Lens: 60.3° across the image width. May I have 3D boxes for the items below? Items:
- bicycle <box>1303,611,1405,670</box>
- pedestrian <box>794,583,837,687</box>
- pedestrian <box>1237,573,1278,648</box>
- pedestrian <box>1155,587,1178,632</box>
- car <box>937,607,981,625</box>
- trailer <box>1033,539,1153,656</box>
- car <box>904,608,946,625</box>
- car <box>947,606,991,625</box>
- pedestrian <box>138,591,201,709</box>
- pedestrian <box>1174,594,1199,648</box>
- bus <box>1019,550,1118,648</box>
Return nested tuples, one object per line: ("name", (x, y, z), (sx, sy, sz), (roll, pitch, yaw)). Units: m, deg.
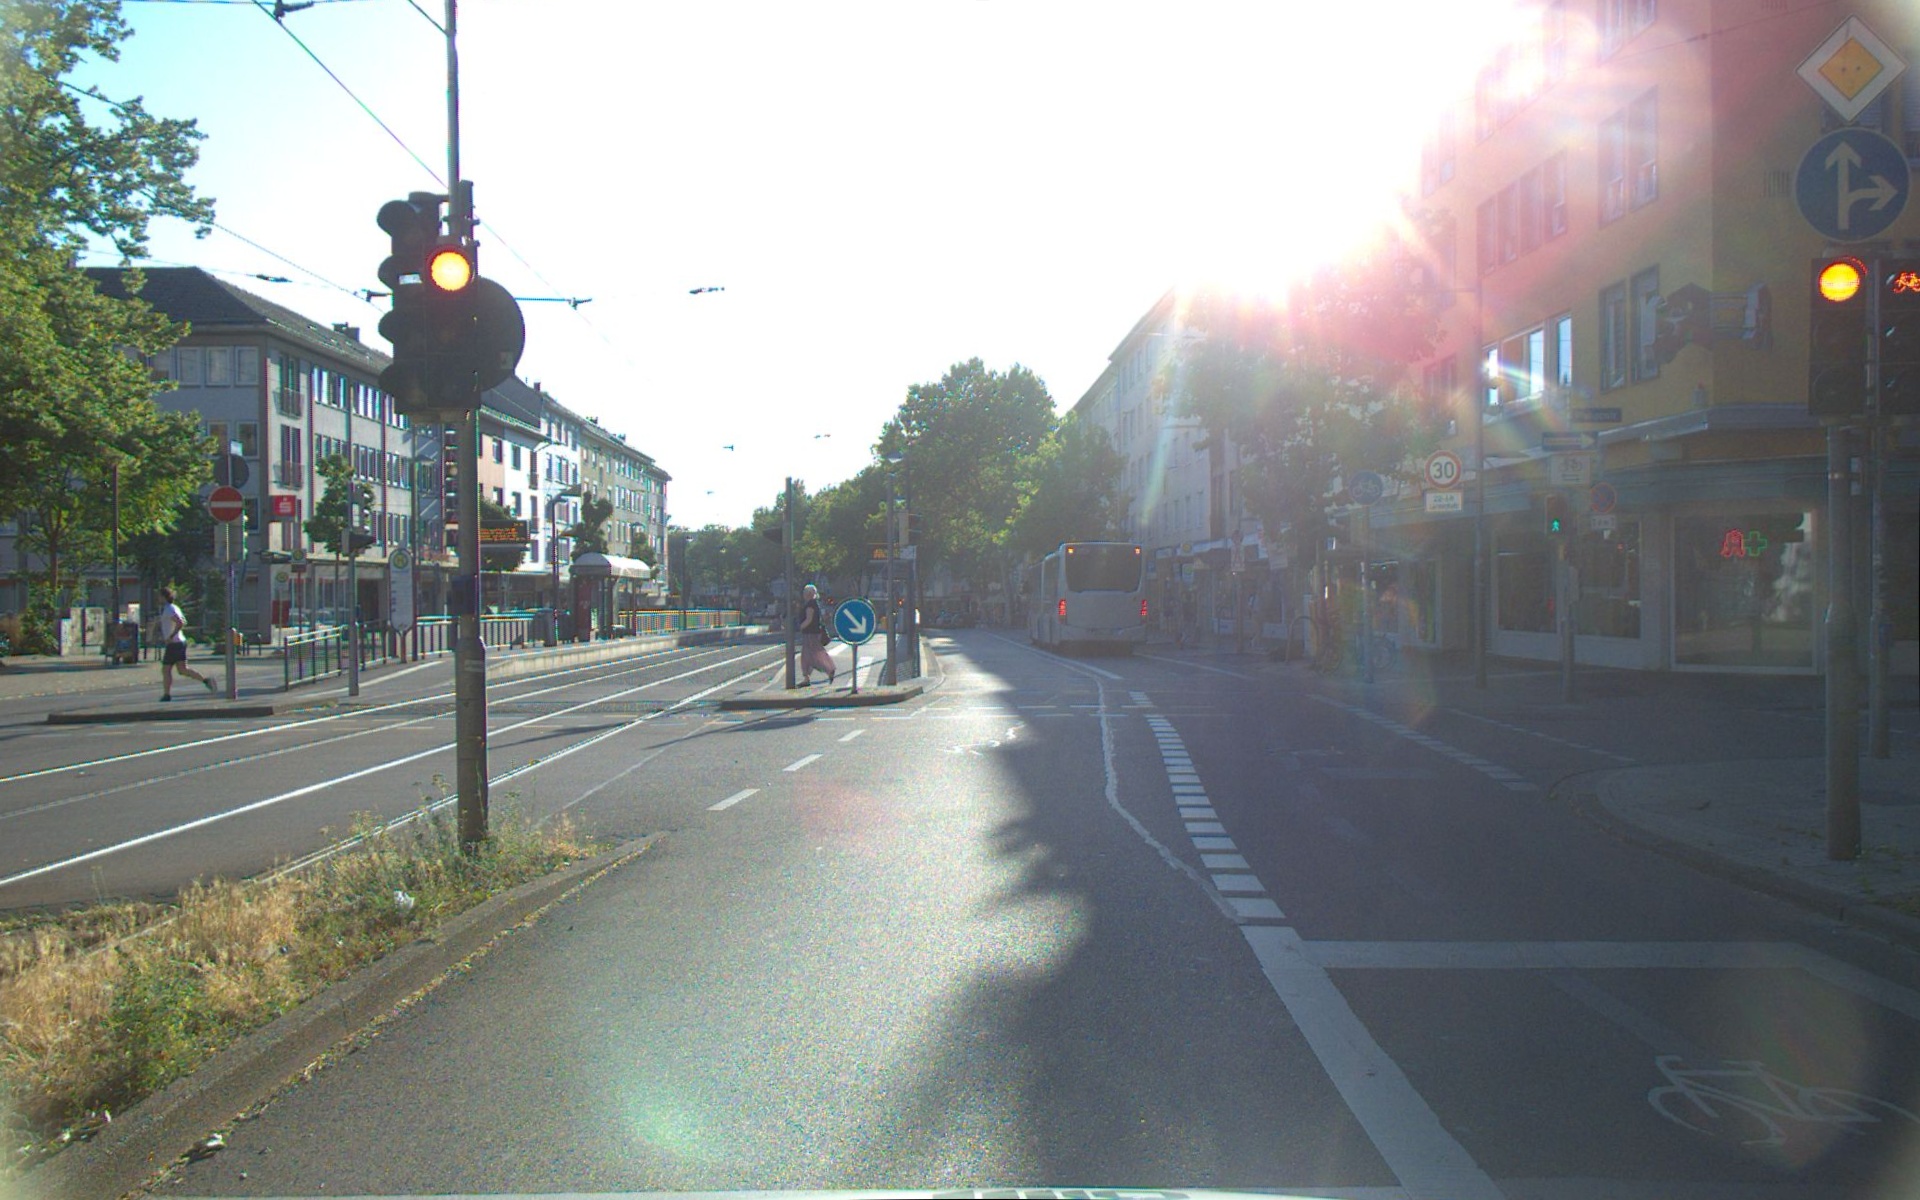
("bicycle", (7.469, 0.759, 31.420), (1.737, 1.039, 0.694), (-2, 0, -2))
("pedestrian", (-2.523, 0.604, 28.968), (0.666, 1.801, 0.687), (-1, 0, 0))
("pedestrian", (8.307, 0.296, 46.206), (0.934, 2.049, 0.917), (1, 0, -3))
("pedestrian", (8.771, 0.394, 70.254), (0.842, 1.916, 0.898), (-1, 0, 0))
("car", (-0.101, 1.549, 161.273), (3.848, 1.729, 1.815), (-1, 0, -30))
("trailer", (3.870, -0.057, 50.069), (2.755, 3.165, 8.792), (1, 0, -1))
("car", (-3.528, 1.627, 166.261), (3.848, 1.624, 1.674), (-1, 0, -30))
("car", (0.906, 1.501, 158.686), (3.848, 1.729, 1.815), (-1, 0, -30))
("pedestrian", (-12.341, 0.764, 25.830), (0.666, 1.801, 0.686), (-1, 0, -4))
("pedestrian", (7.053, 0.665, 51.482), (0.662, 1.656, 0.655), (1, 0, 0))
("bus", (3.736, -0.029, 59.013), (2.755, 3.156, 9.092), (1, 0, -1))
